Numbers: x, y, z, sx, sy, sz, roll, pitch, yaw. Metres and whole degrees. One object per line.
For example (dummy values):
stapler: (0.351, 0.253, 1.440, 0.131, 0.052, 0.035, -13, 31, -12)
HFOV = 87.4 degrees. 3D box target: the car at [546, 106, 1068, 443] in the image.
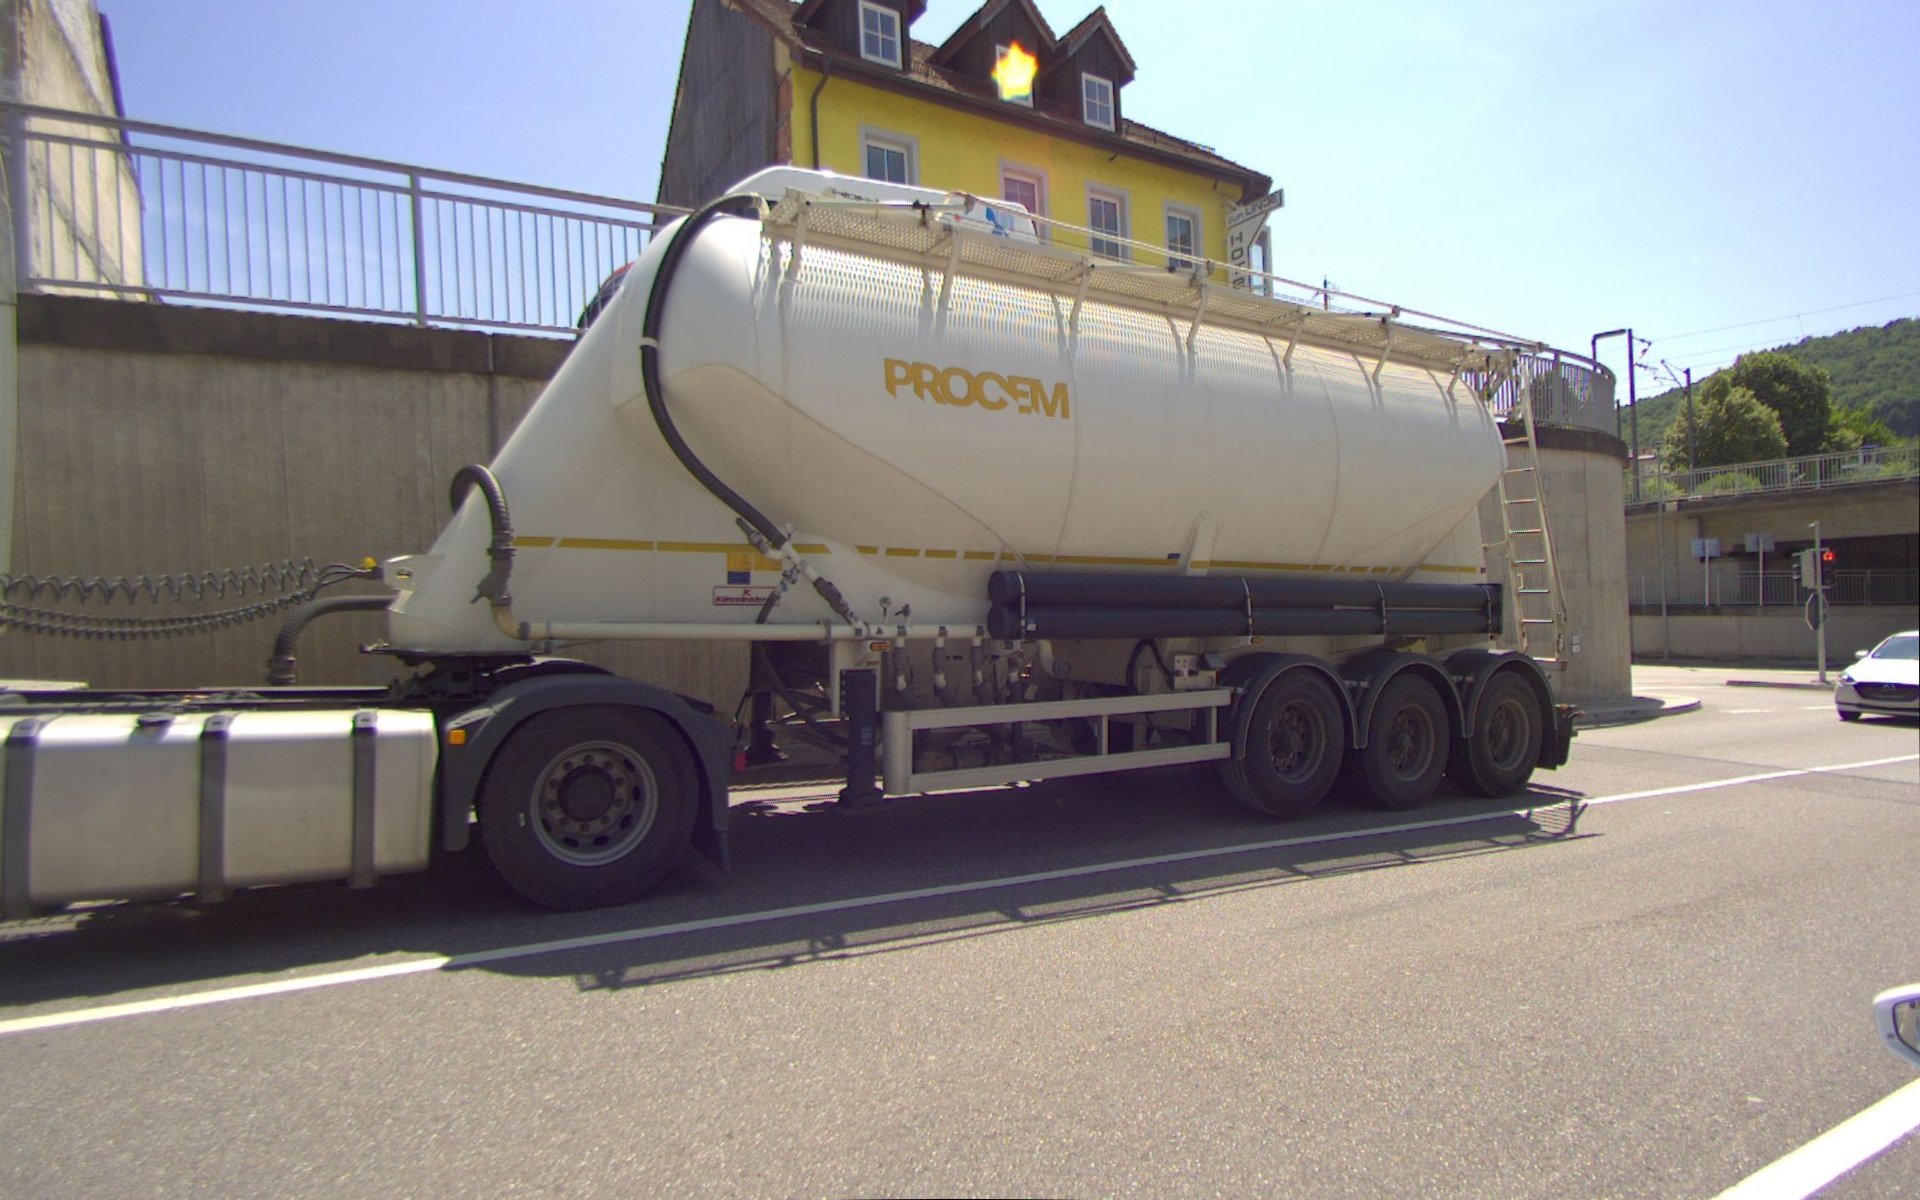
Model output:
car: (-1.609, -3.376, 11.654, 5.596, 2.571, 2.054, -2, 2, -31)

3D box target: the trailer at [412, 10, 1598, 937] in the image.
trailer: (1.053, -0.440, 7.802, 9.235, 4.017, 2.598, 2, -1, -30)

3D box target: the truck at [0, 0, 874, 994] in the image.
truck: (-3.950, -0.515, 4.904, 6.502, 3.912, 2.649, 2, -1, -30)

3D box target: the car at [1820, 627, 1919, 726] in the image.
car: (16.043, 1.213, 16.489, 4.045, 1.460, 1.674, 2, -1, -30)
